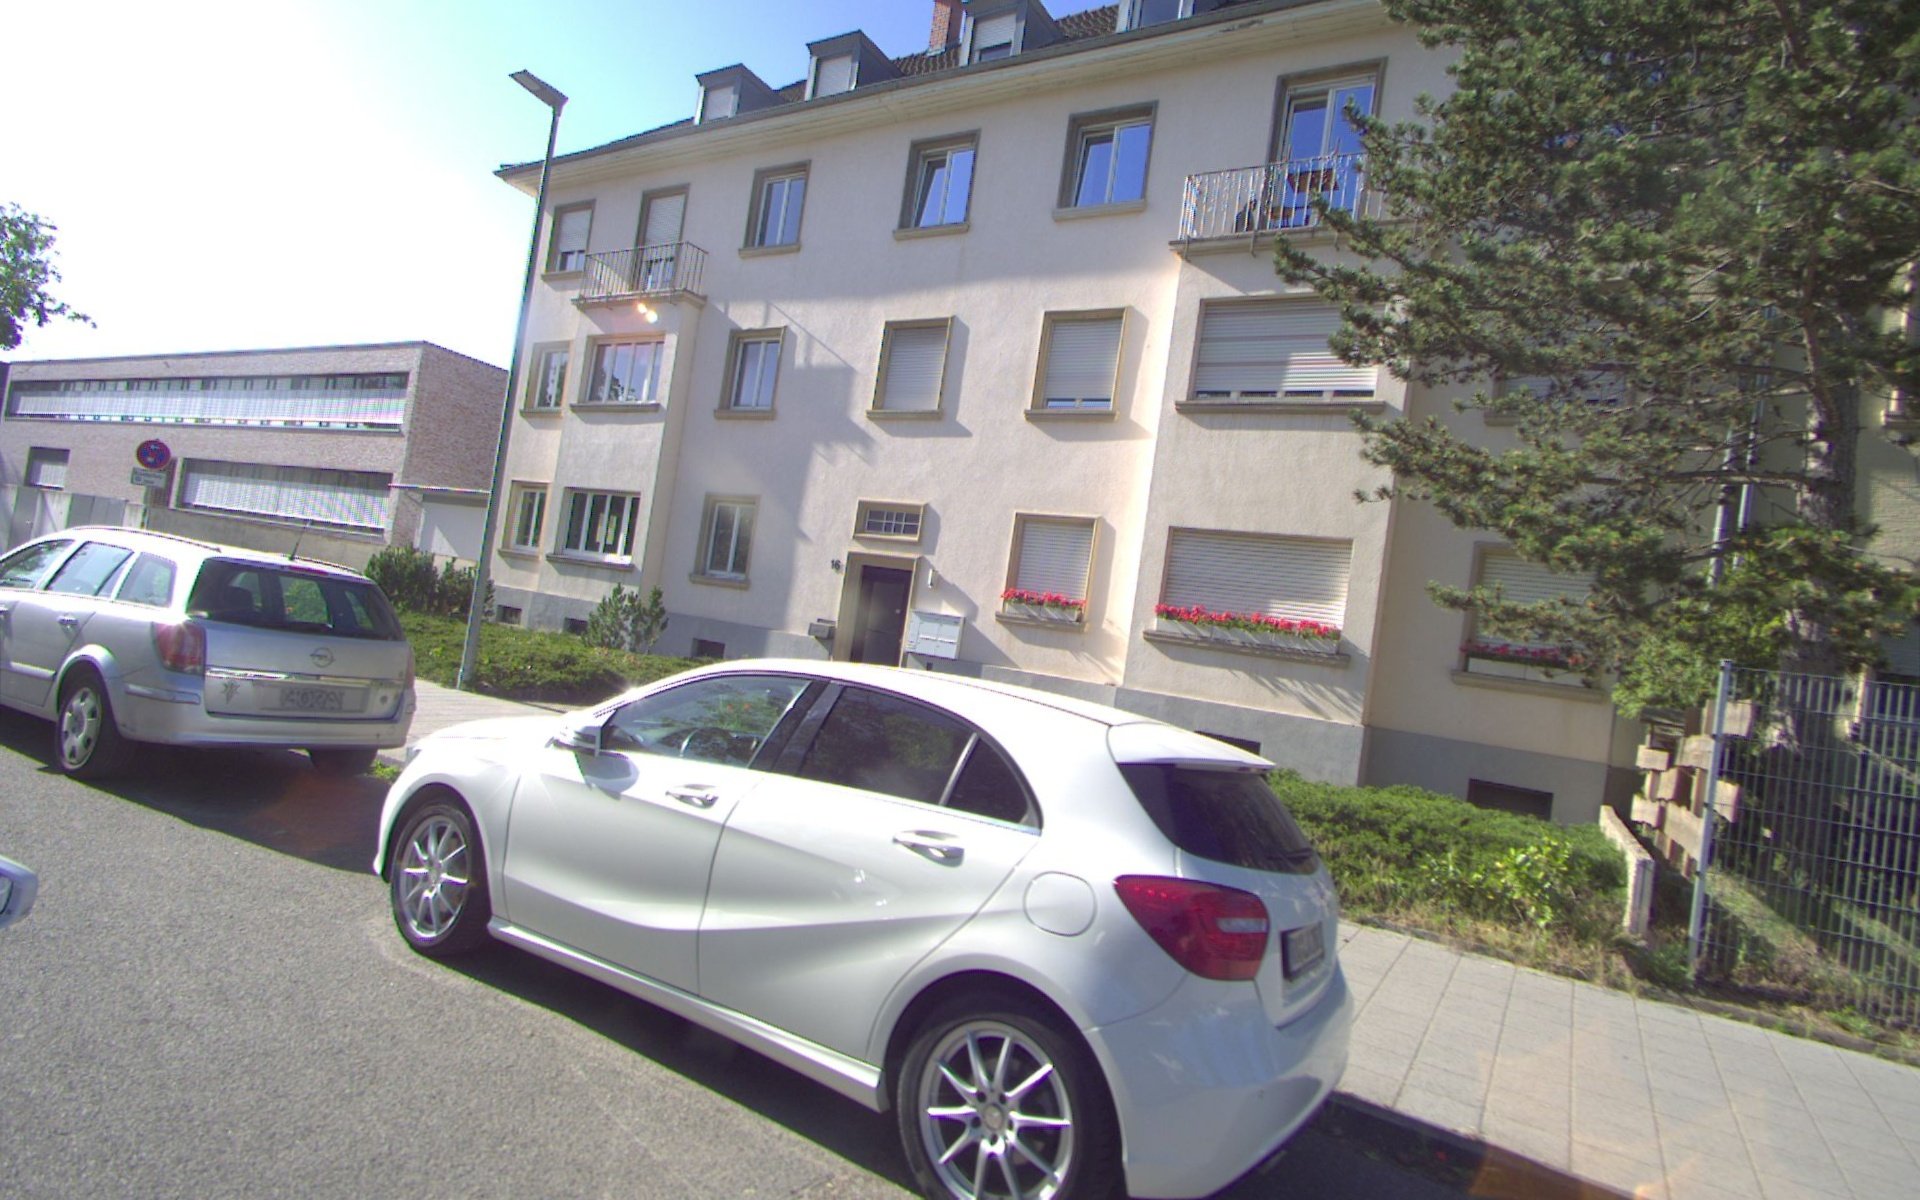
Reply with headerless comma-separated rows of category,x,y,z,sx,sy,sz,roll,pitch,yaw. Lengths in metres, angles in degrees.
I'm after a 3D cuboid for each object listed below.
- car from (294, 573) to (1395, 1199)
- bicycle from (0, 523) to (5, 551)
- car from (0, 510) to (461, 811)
car,-0.662,0.918,4.195,4.218,1.435,1.800,6,-5,32
bicycle,-30.372,-1.995,30.654,0.492,1.040,1.675,7,-5,30
car,-5.802,0.288,7.161,4.335,1.480,1.666,7,-5,28
